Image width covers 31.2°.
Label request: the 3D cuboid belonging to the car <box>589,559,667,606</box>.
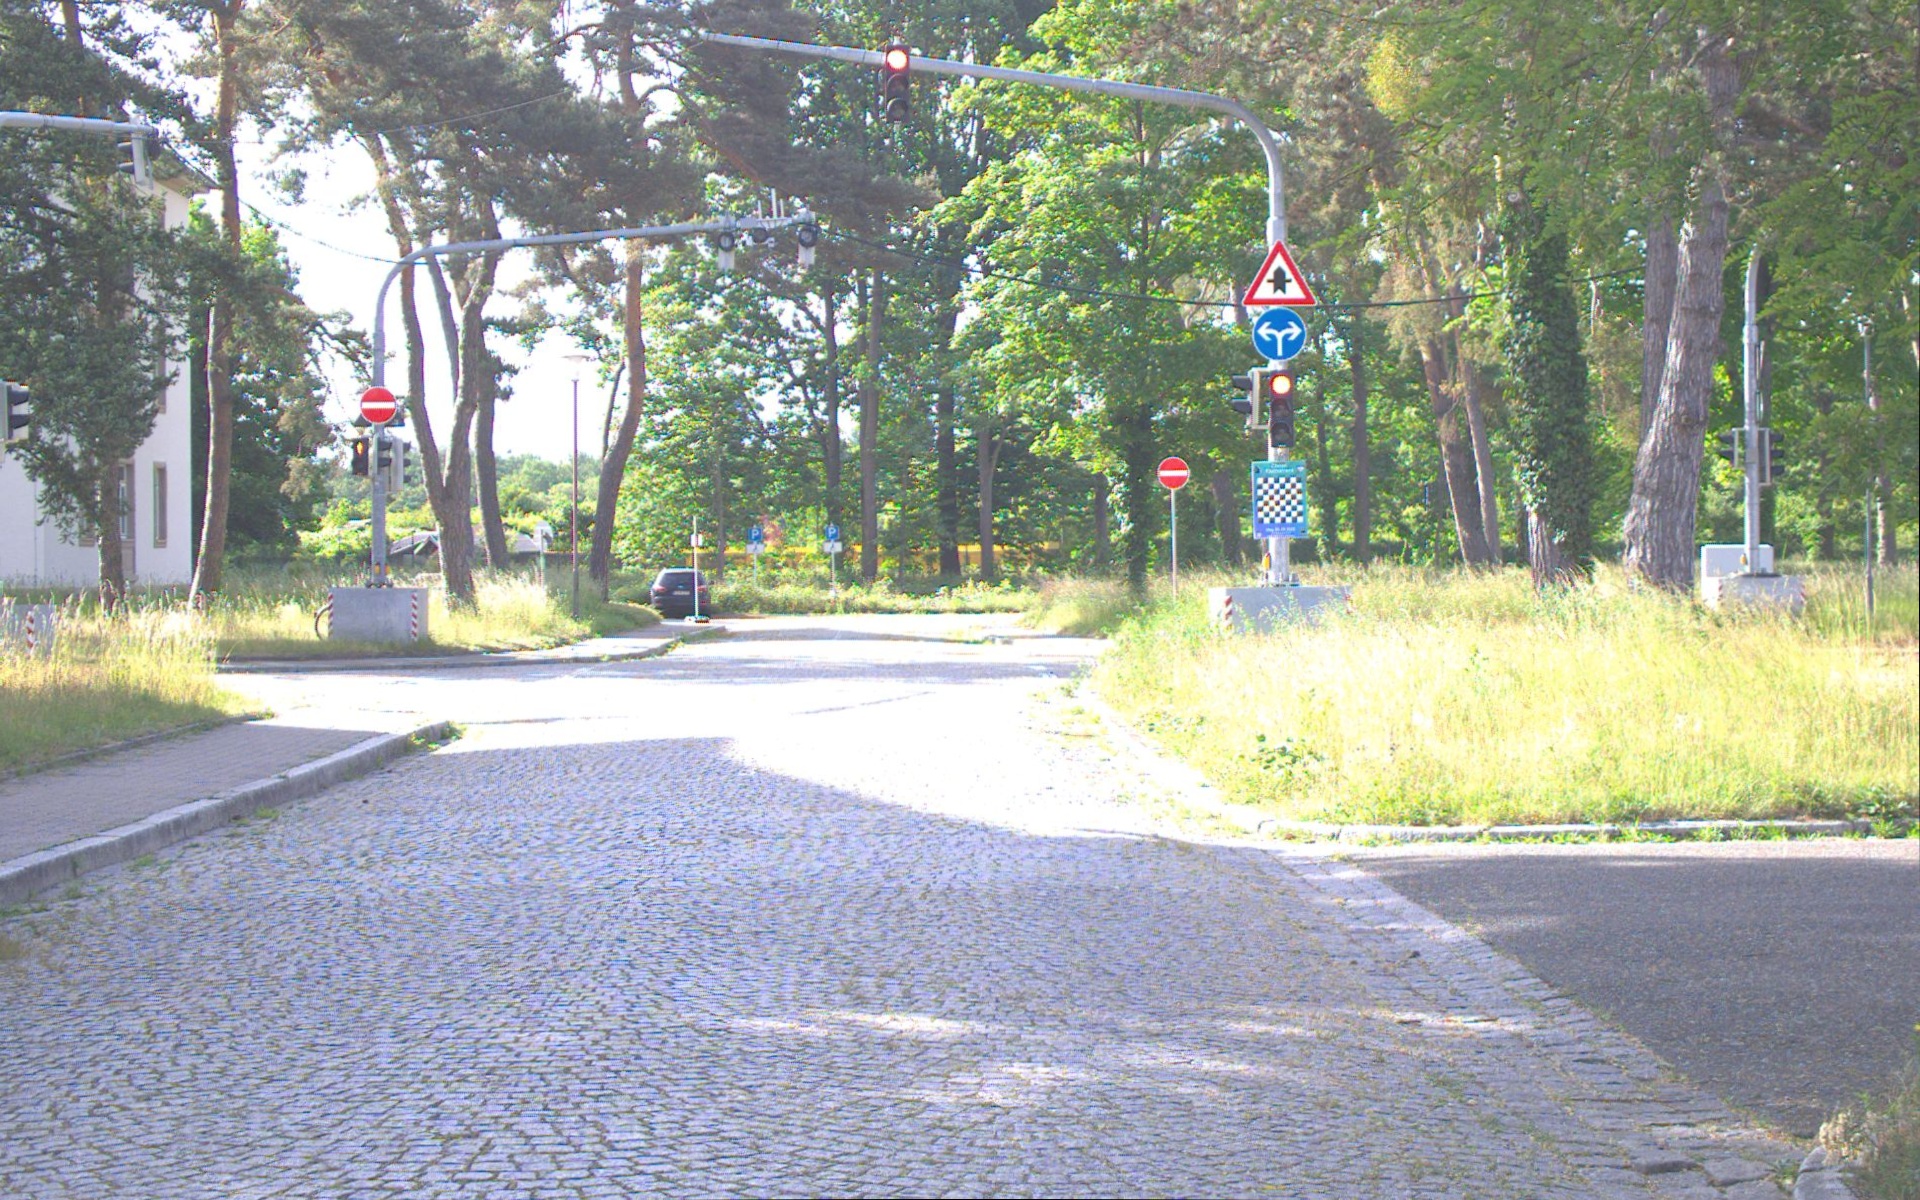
[{"bbox_3d":[-10.667,-0.581,110.666,1.783,1.485,3.754,0,1,6],"label":"car"}]

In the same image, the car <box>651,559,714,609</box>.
[{"bbox_3d":[-8.535,-0.512,105.918,1.844,1.481,4.001,0,1,-4],"label":"car"}]
